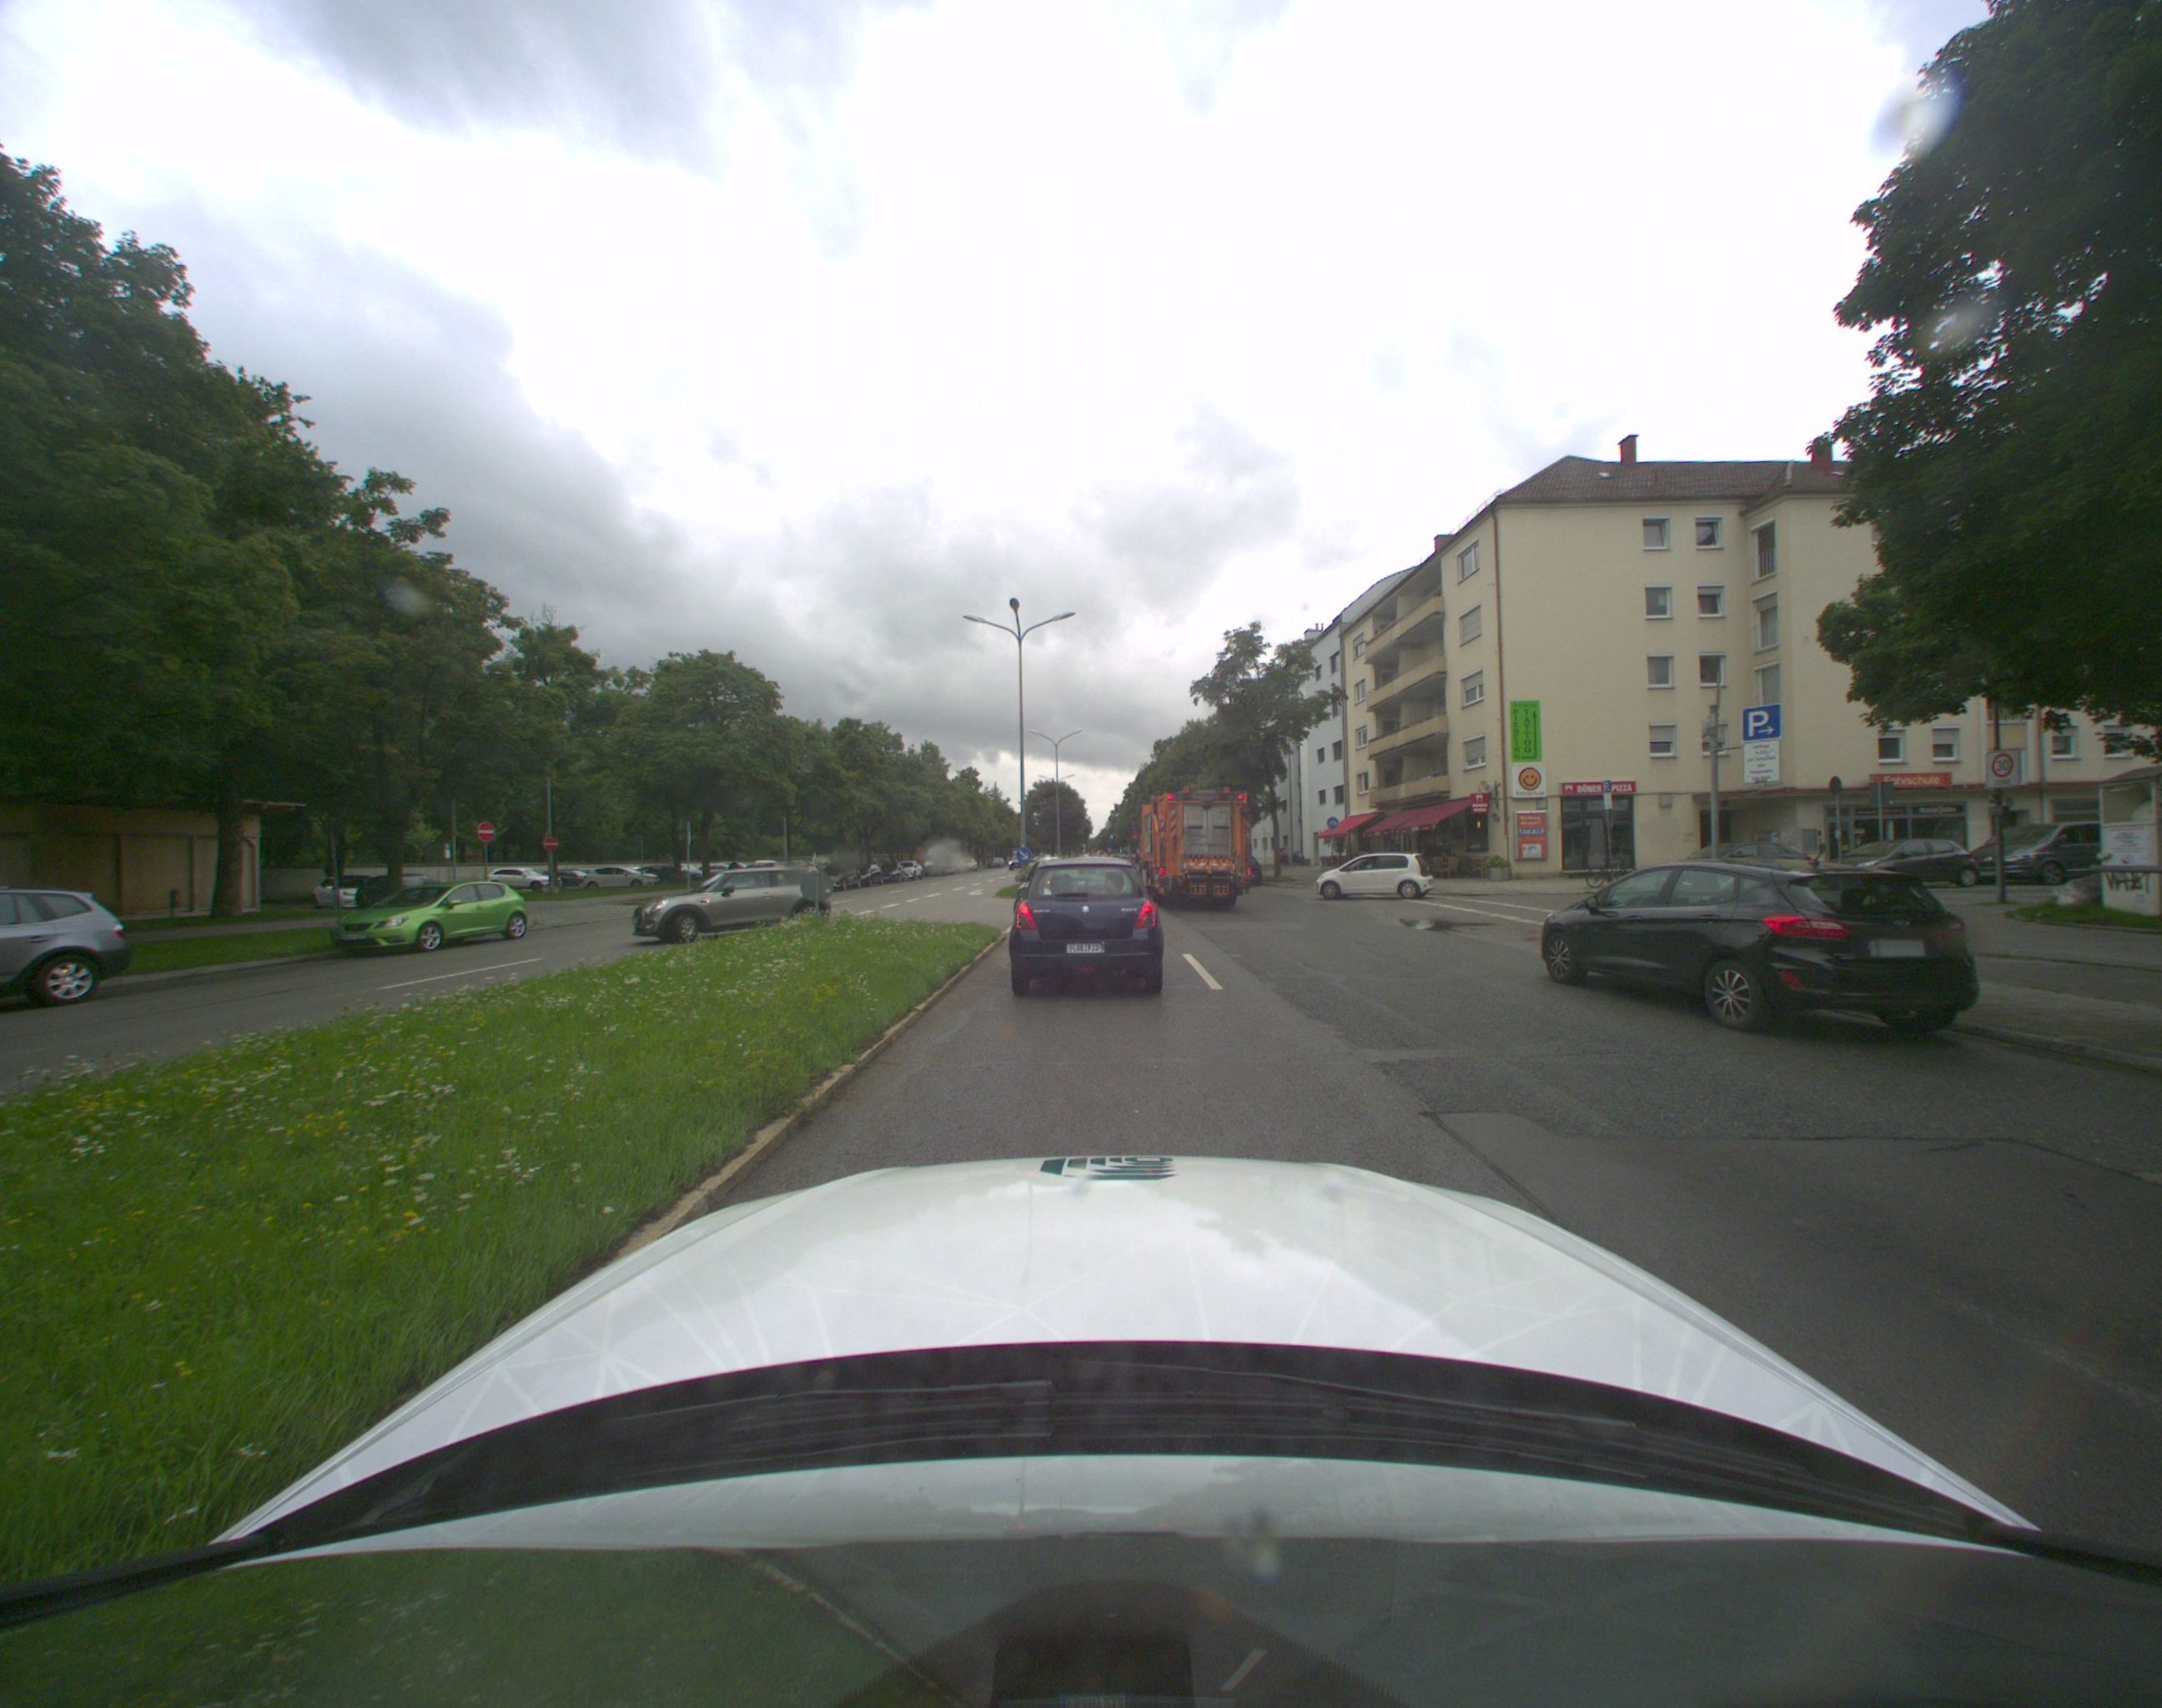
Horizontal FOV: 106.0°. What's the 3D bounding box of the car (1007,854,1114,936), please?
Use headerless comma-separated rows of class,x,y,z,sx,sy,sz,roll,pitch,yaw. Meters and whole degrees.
car,-0.495,0.749,16.670,1.447,1.483,3.089,-1,0,-16

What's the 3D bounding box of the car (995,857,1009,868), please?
car,-11.683,1.200,121.159,1.627,1.583,3.879,-1,0,0

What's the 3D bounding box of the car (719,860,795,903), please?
car,-13.953,1.134,35.344,1.711,1.741,3.879,-1,0,0

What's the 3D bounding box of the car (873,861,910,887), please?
car,-13.267,1.368,57.176,1.627,1.741,3.879,-1,0,0

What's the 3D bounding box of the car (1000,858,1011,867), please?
car,-13.507,1.437,145.369,1.627,1.583,3.879,-1,0,0

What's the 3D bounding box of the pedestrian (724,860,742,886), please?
pedestrian,-20.616,1.131,48.196,0.725,1.534,0.721,-1,-1,1

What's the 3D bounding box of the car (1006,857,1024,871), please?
car,-7.147,1.065,88.768,1.627,1.552,3.879,-1,0,0

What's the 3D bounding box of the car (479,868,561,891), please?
car,-38.584,1.734,56.047,4.489,1.476,1.673,-1,-1,1

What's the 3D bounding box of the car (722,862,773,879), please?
car,-29.448,1.412,71.982,3.859,1.445,1.670,-1,0,-5

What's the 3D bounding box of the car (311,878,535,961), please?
car,-14.200,1.348,17.895,1.541,1.409,3.883,-3,0,4

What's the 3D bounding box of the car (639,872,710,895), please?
car,-27.122,1.935,54.401,3.859,1.445,1.670,-1,0,-5

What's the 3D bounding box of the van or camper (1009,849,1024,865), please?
van or camper,-13.662,0.623,173.472,2.552,3.296,6.937,-1,0,0

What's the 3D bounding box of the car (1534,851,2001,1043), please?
car,6.296,0.721,8.098,1.611,1.465,3.675,0,0,1

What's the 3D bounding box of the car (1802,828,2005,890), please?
car,24.929,0.152,24.785,4.382,1.661,1.870,-2,0,-2

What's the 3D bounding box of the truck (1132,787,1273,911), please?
truck,3.454,-0.135,25.756,3.029,3.189,9.131,-1,0,0

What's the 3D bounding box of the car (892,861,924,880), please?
car,-13.258,1.250,62.513,1.627,1.431,3.879,-1,0,0

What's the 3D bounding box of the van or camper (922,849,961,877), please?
van or camper,-13.064,0.808,76.700,2.109,2.482,7.452,-1,0,2

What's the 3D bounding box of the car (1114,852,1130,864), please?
car,5.056,0.509,101.010,1.726,1.432,4.439,0,0,-2

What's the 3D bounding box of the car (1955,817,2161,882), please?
car,30.400,-0.140,25.193,4.721,1.773,1.871,-2,0,-1

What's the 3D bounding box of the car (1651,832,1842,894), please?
car,20.156,0.258,24.768,4.384,1.661,1.869,-2,0,-4

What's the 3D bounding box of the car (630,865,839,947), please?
car,-7.227,1.000,17.110,3.750,1.463,1.669,-1,0,-36

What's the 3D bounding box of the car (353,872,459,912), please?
car,-26.689,1.454,32.159,4.363,1.445,1.973,-1,-1,33

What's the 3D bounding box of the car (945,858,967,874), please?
car,-12.940,1.265,84.576,1.627,1.583,3.879,-1,0,0

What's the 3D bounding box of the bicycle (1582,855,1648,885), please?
bicycle,17.659,0.533,26.943,1.842,0.957,0.557,-1,-1,-1

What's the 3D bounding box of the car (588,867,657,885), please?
car,-37.575,1.806,66.831,4.674,1.445,1.673,-1,0,1

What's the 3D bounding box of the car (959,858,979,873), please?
car,-12.640,1.292,92.223,1.627,1.583,3.879,-1,0,0

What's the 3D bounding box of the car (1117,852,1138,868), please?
car,4.284,0.553,75.759,1.752,1.413,4.463,0,0,1

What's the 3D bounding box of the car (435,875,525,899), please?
car,-39.329,2.134,53.321,4.672,1.445,1.674,-1,0,2

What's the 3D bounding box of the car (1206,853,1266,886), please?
car,7.277,0.674,38.609,1.861,1.417,4.221,-2,0,-2

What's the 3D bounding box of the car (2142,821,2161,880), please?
car,32.486,-0.077,22.306,4.714,1.661,1.869,0,0,-3

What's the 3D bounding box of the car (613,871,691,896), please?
car,-26.409,1.782,50.220,3.859,1.445,1.670,-1,0,-5

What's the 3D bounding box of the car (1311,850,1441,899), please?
car,9.446,0.648,26.111,3.513,1.417,1.884,-2,0,34

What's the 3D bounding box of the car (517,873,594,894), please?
car,-39.058,2.166,60.617,4.674,1.445,1.673,-1,0,1

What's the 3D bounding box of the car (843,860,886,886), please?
car,-13.437,1.158,50.801,1.585,1.558,3.879,-1,0,0

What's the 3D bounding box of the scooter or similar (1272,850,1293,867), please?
scooter or similar,16.069,0.318,65.052,1.029,1.307,2.756,-2,0,2

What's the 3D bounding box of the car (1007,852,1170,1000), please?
car,0.086,0.741,10.441,1.677,1.502,3.918,-1,0,0

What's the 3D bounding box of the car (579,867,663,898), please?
car,-26.702,1.624,47.367,3.911,1.718,1.670,0,0,-5

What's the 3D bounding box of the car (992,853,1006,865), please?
car,-11.579,0.713,115.009,1.627,1.583,3.879,-1,0,0

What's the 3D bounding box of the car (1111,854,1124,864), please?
car,4.982,0.635,111.416,1.676,1.383,3.919,0,0,1

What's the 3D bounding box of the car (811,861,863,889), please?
car,-13.526,1.120,45.361,1.662,1.445,3.879,-1,0,0

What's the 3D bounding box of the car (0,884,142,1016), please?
car,-14.361,1.276,9.478,1.685,1.586,4.370,-3,0,0

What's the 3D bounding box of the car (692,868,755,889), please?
car,-26.254,1.808,59.822,3.859,1.445,1.670,-1,0,-5

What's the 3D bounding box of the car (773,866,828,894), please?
car,-13.950,1.277,40.668,1.585,1.312,3.380,-1,0,0

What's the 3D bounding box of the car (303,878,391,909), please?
car,-31.481,1.643,34.895,4.363,1.201,1.683,-1,-1,33

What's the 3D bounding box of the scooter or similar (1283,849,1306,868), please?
scooter or similar,15.995,0.326,61.102,1.029,1.307,2.756,-2,0,2
